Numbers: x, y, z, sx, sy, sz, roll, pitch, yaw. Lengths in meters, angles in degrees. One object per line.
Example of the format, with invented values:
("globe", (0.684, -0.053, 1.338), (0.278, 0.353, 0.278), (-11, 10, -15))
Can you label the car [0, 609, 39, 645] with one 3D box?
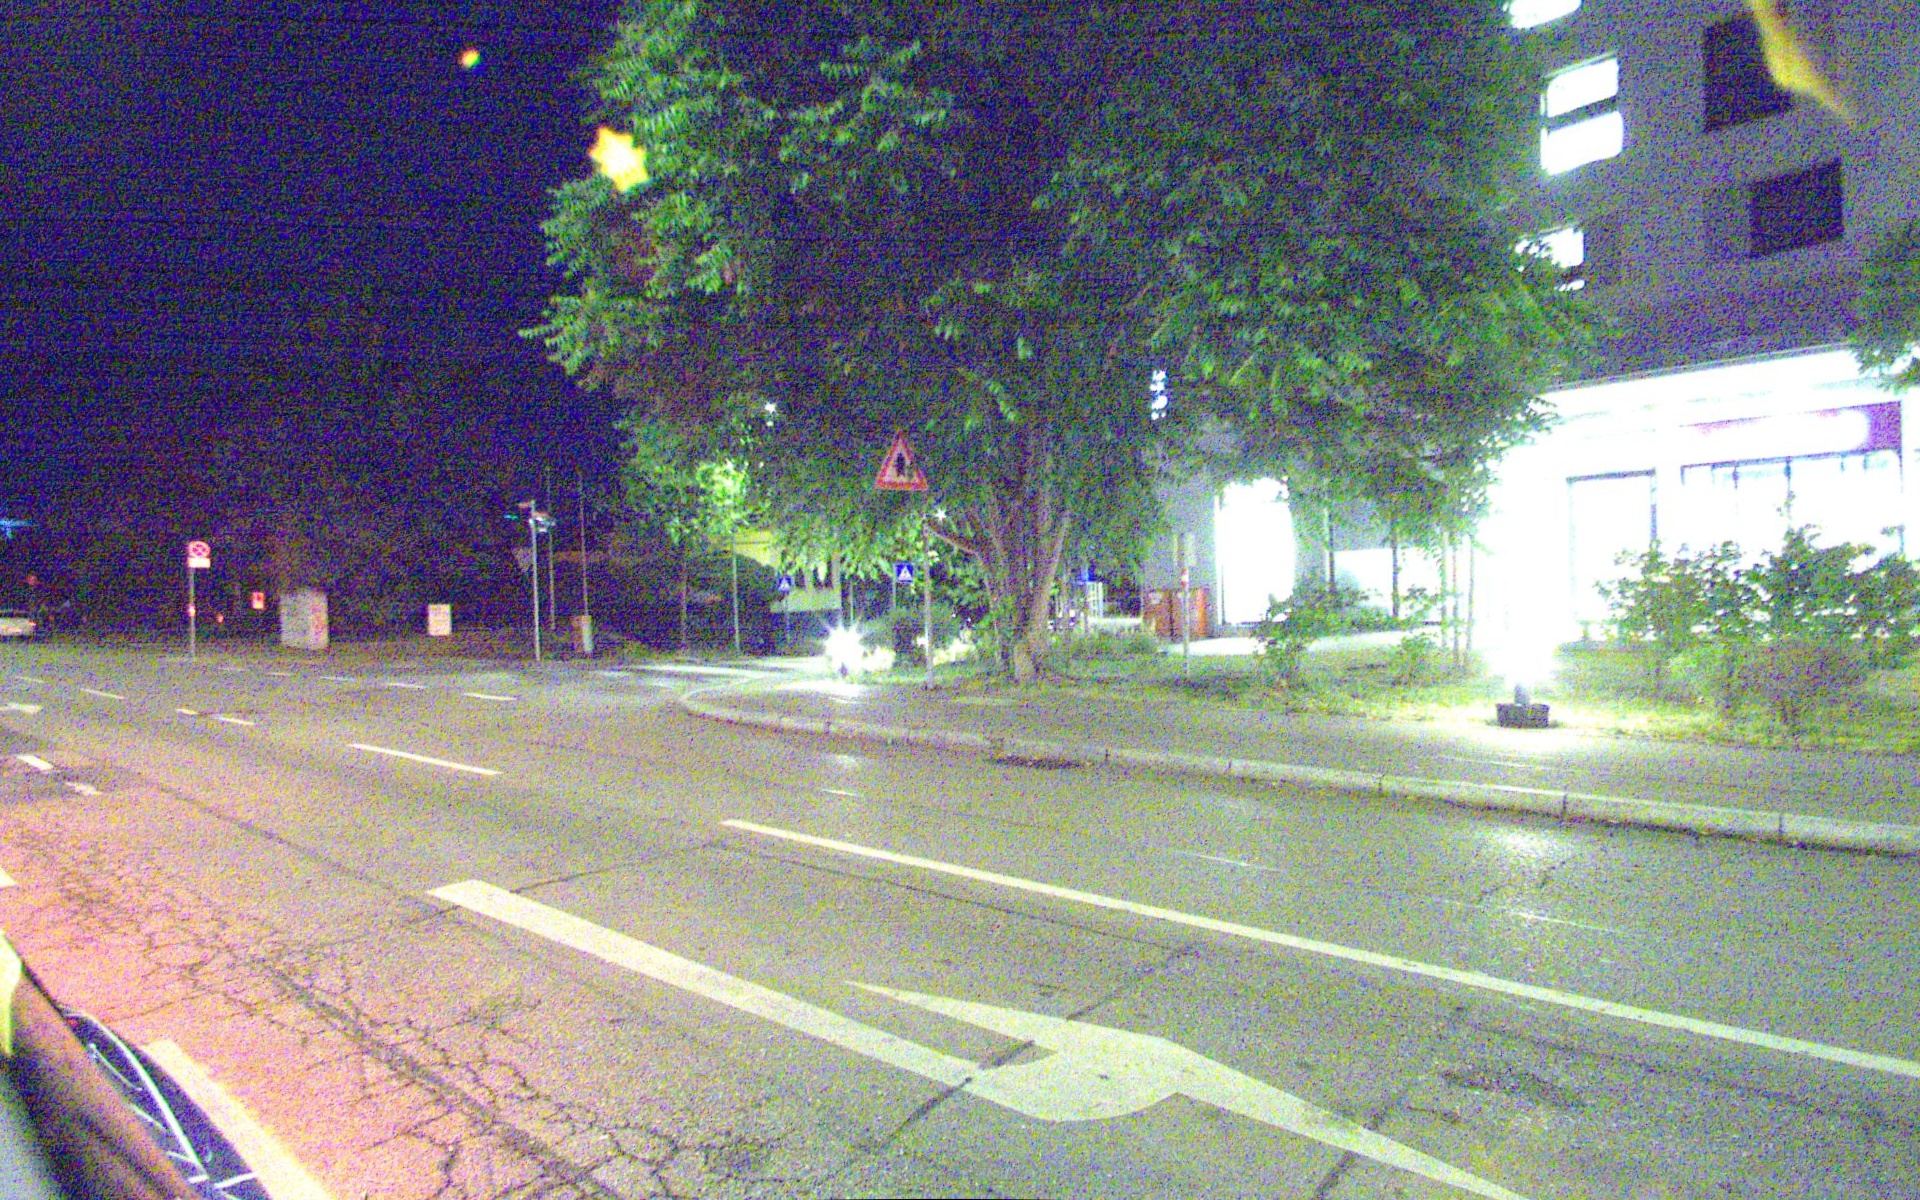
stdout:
("car", (-43.183, 1.192, 45.718), (3.998, 1.464, 1.887), (1, 2, 41))
